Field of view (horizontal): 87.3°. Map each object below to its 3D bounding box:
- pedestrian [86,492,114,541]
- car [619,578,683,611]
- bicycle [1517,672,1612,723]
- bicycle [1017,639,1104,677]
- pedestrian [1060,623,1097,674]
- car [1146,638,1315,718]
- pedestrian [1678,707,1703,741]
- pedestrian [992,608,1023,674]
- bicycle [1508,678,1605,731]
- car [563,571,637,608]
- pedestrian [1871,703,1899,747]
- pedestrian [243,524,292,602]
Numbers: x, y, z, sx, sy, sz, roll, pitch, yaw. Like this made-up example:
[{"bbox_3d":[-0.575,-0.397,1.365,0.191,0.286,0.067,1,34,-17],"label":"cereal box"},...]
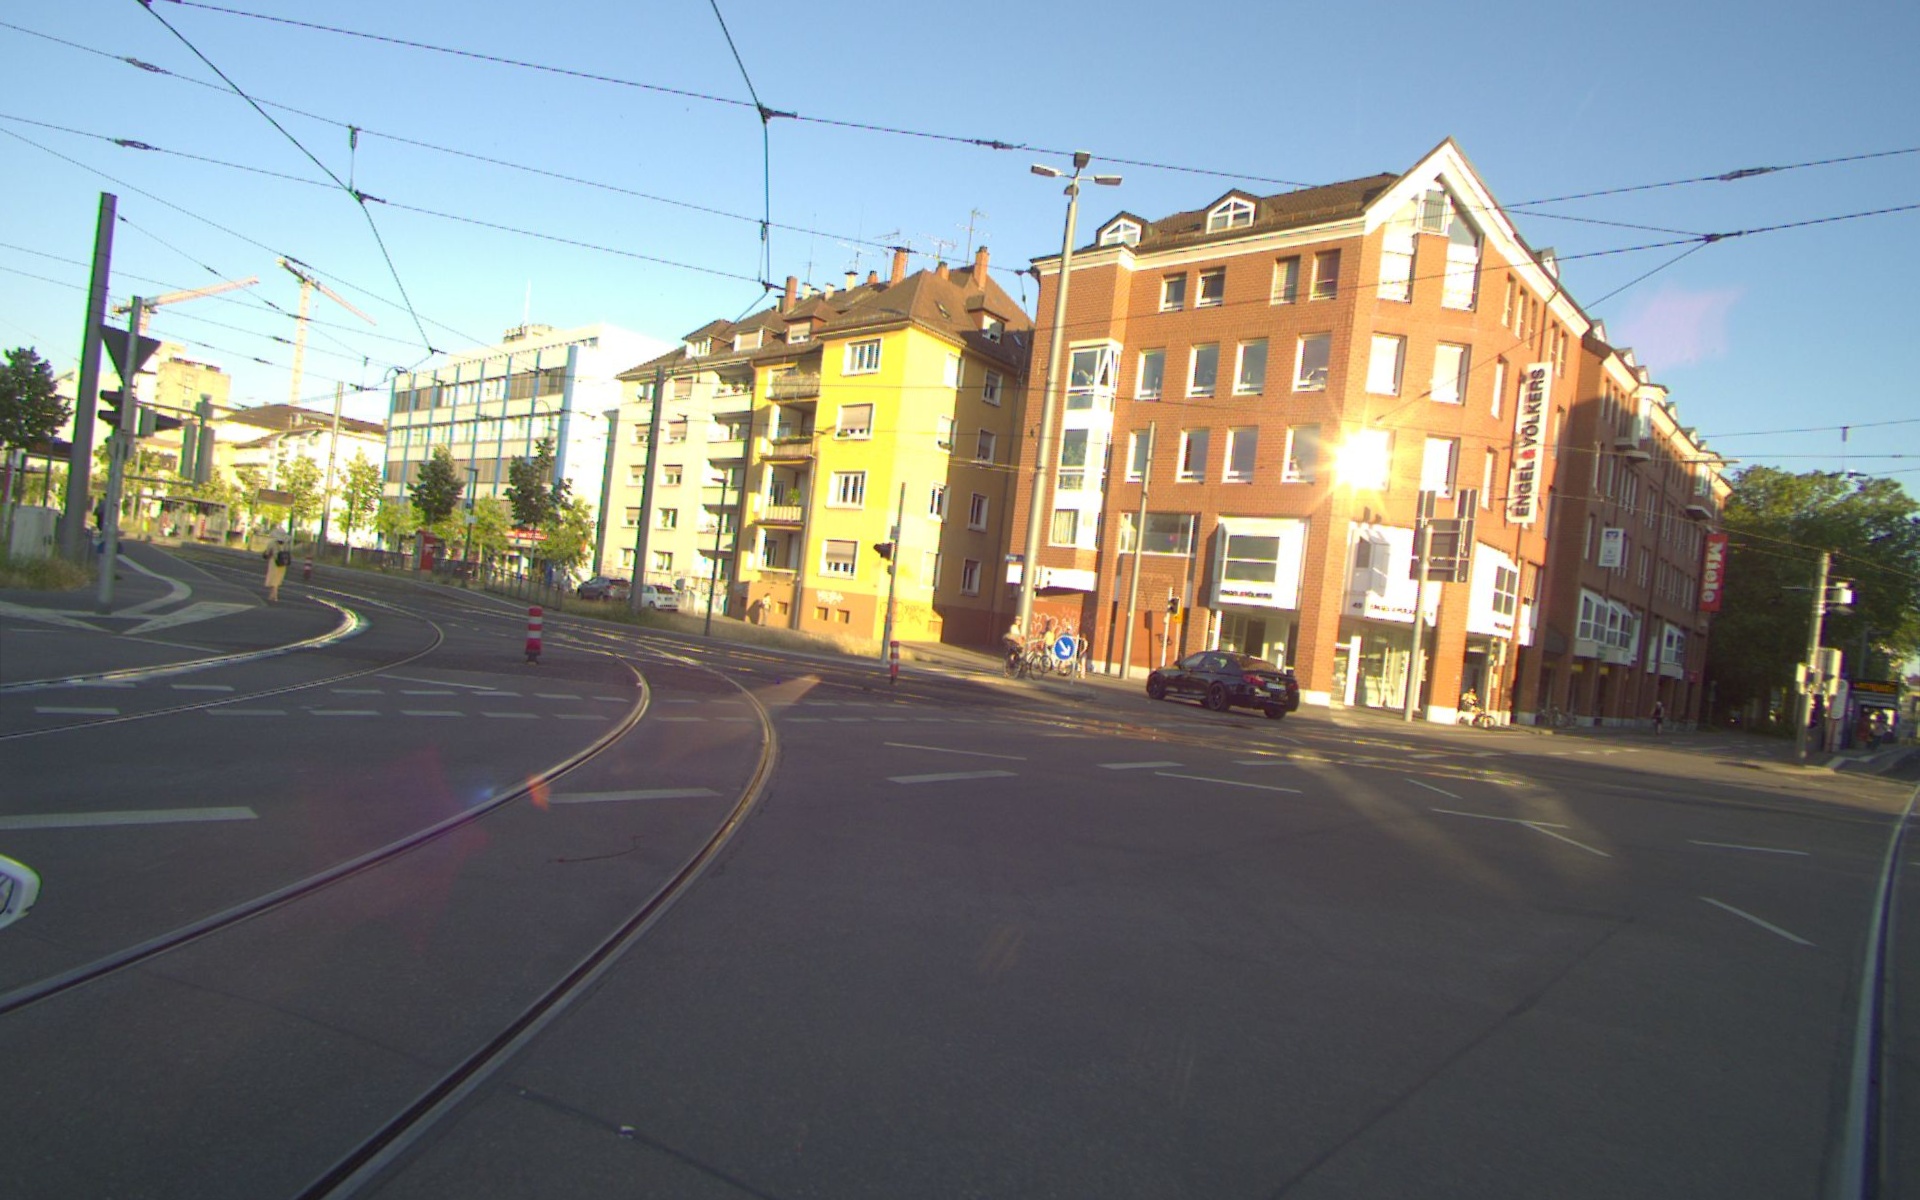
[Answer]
[{"bbox_3d":[-29.962,-2.908,35.039,0.681,1.610,0.562,6,0,45],"label":"pedestrian"},{"bbox_3d":[-17.555,-0.332,57.113,3.492,1.438,1.732,6,0,40],"label":"car"},{"bbox_3d":[26.164,4.191,43.597,3.264,1.747,1.063,6,0,44],"label":"bicycle"},{"bbox_3d":[3.664,2.125,36.945,3.016,1.030,0.929,6,0,35],"label":"bicycle"},{"bbox_3d":[4.425,1.822,37.584,0.859,1.800,0.915,6,0,34],"label":"pedestrian"},{"bbox_3d":[6.562,1.865,24.941,1.821,1.513,4.274,6,-1,-20],"label":"car"},{"bbox_3d":[47.087,7.969,64.830,1.073,2.039,1.080,7,1,40],"label":"pedestrian"},{"bbox_3d":[1.299,1.125,27.402,0.508,1.729,0.417,7,1,42],"label":"pedestrian"},{"bbox_3d":[25.326,4.414,42.767,3.265,1.747,1.063,6,0,45],"label":"bicycle"},{"bbox_3d":[-21.497,-0.637,59.991,4.286,1.726,2.110,6,0,40],"label":"car"},{"bbox_3d":[44.704,6.027,48.623,0.799,2.039,0.674,7,1,41],"label":"pedestrian"},{"bbox_3d":[-14.637,-0.780,21.278,0.700,1.560,0.631,6,1,-32],"label":"pedestrian"}]
